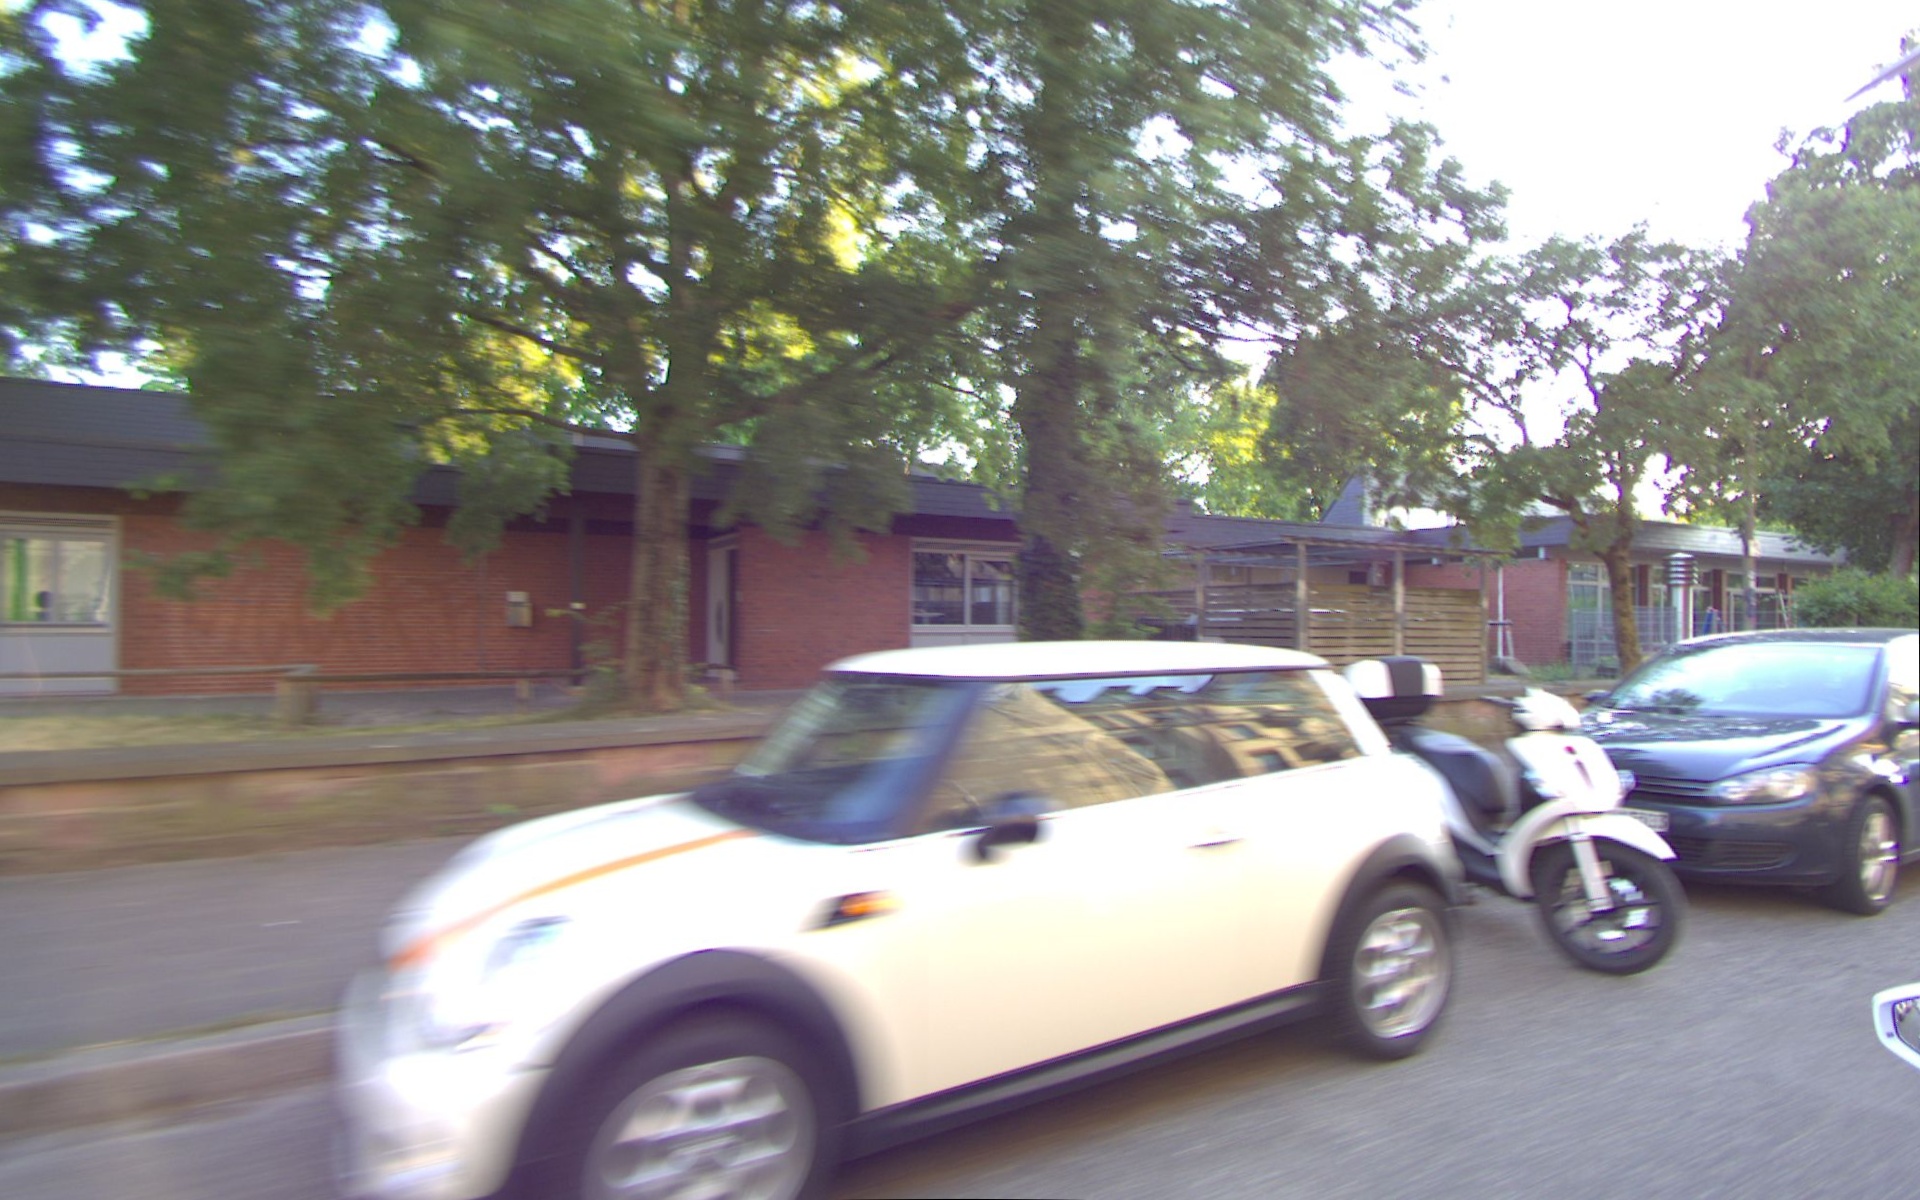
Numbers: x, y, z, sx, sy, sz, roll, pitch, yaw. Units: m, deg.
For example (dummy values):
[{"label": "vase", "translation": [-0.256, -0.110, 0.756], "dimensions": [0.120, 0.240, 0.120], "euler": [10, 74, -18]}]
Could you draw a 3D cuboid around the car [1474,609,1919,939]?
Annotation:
[{"label": "car", "translation": [5.426, 0.878, 6.486], "dimensions": [4.310, 1.516, 1.707], "euler": [1, -3, -31]}]

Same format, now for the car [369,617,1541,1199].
[{"label": "car", "translation": [0.140, 0.846, 3.499], "dimensions": [3.759, 1.450, 1.594], "euler": [1, -4, -31]}]

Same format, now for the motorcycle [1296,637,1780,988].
[{"label": "motorcycle", "translation": [2.717, 0.882, 5.112], "dimensions": [0.865, 1.321, 2.165], "euler": [1, -1, -14]}]

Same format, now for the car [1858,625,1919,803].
[{"label": "car", "translation": [10.000, 0.975, 9.009], "dimensions": [3.942, 1.497, 1.631], "euler": [1, -3, -28]}]
